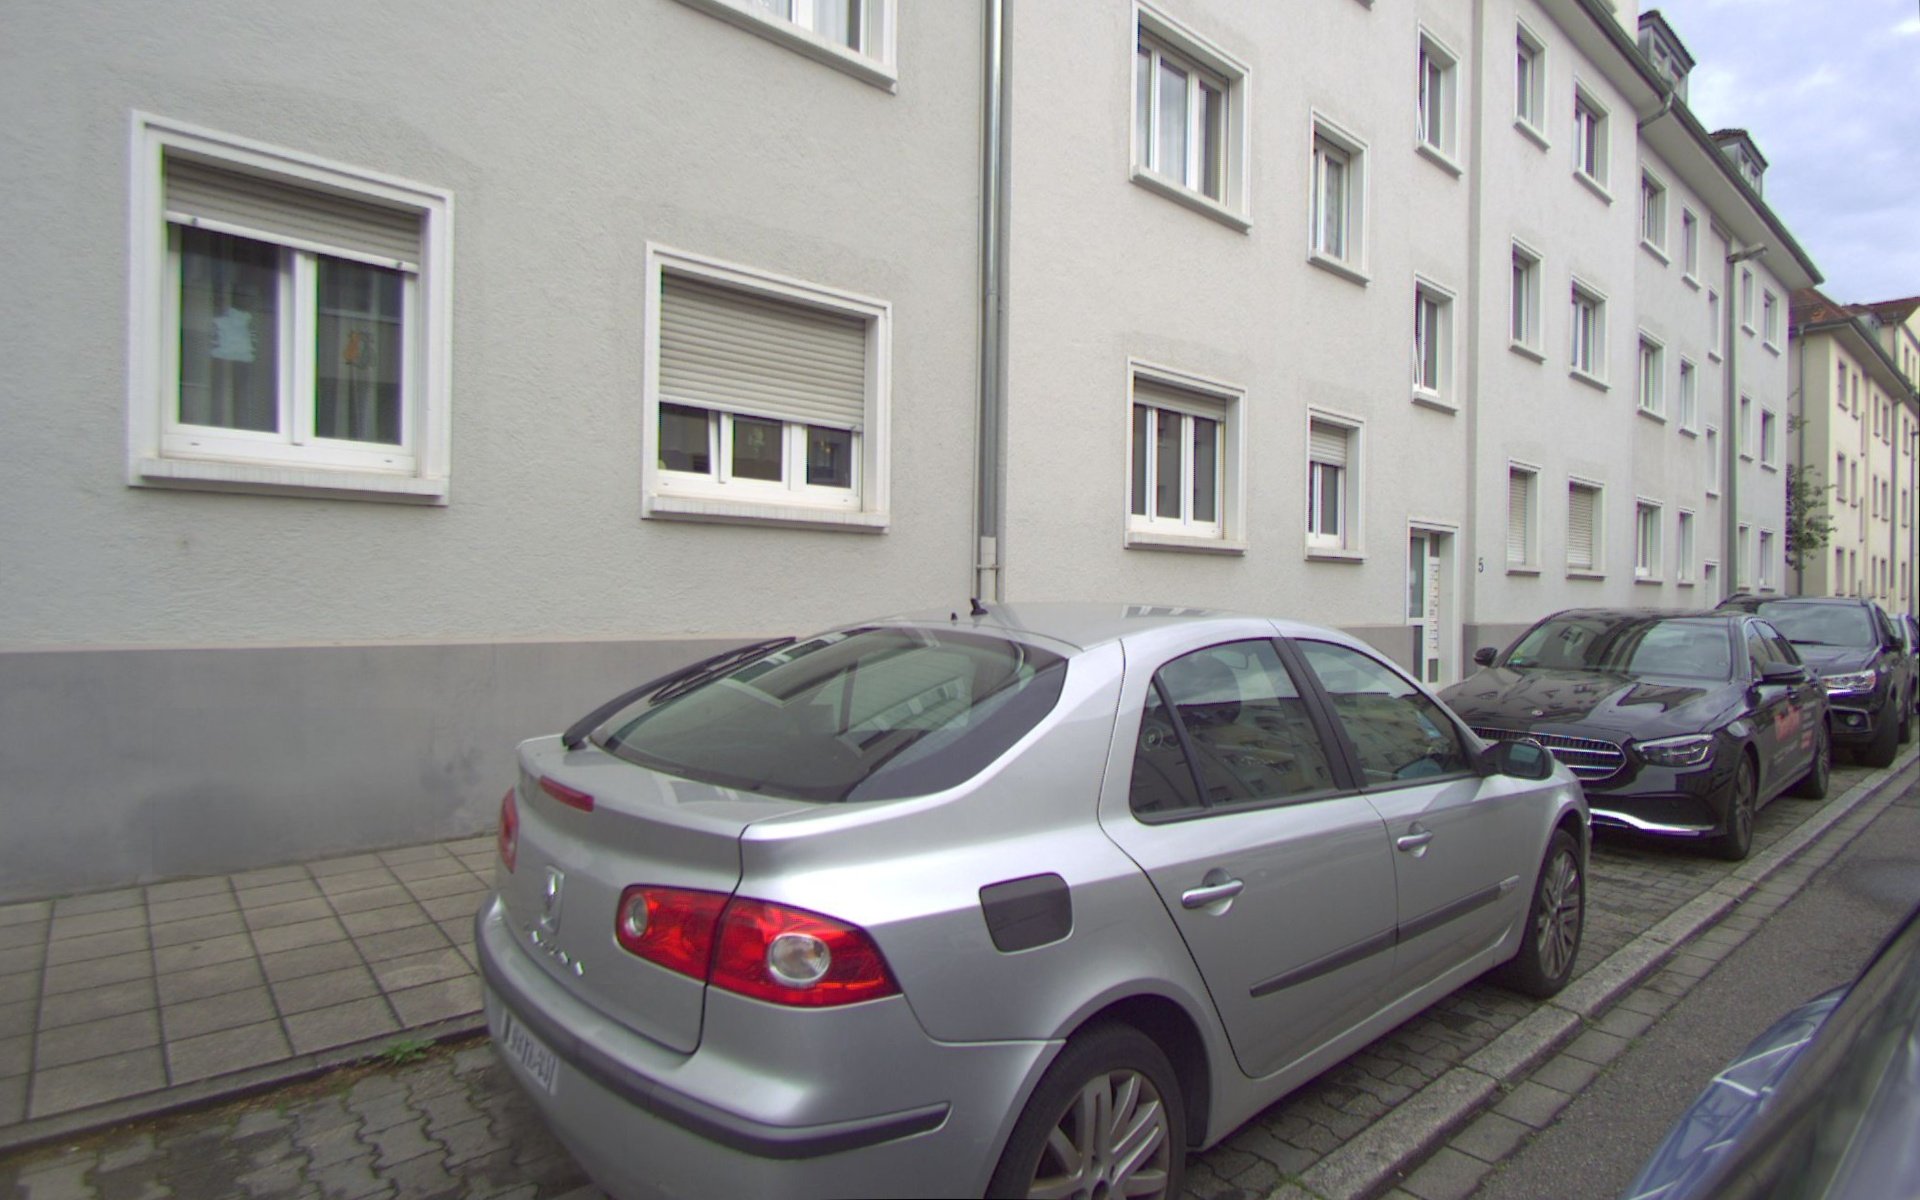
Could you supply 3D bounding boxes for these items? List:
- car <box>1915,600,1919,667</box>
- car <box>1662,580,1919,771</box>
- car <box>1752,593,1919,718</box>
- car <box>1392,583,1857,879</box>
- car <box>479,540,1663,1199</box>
[{"bbox_3d":[24.375,0.810,24.380,3.615,1.566,1.735,0,1,-43],"label":"car"},{"bbox_3d":[9.110,0.653,10.754,4.089,1.619,1.851,1,1,-43],"label":"car"},{"bbox_3d":[12.663,0.692,14.223,3.691,1.506,1.735,1,0,-41],"label":"car"},{"bbox_3d":[4.919,0.671,7.220,4.249,1.481,1.784,1,1,-43],"label":"car"},{"bbox_3d":[0.882,0.655,3.589,4.355,1.481,1.735,1,1,-43],"label":"car"}]
